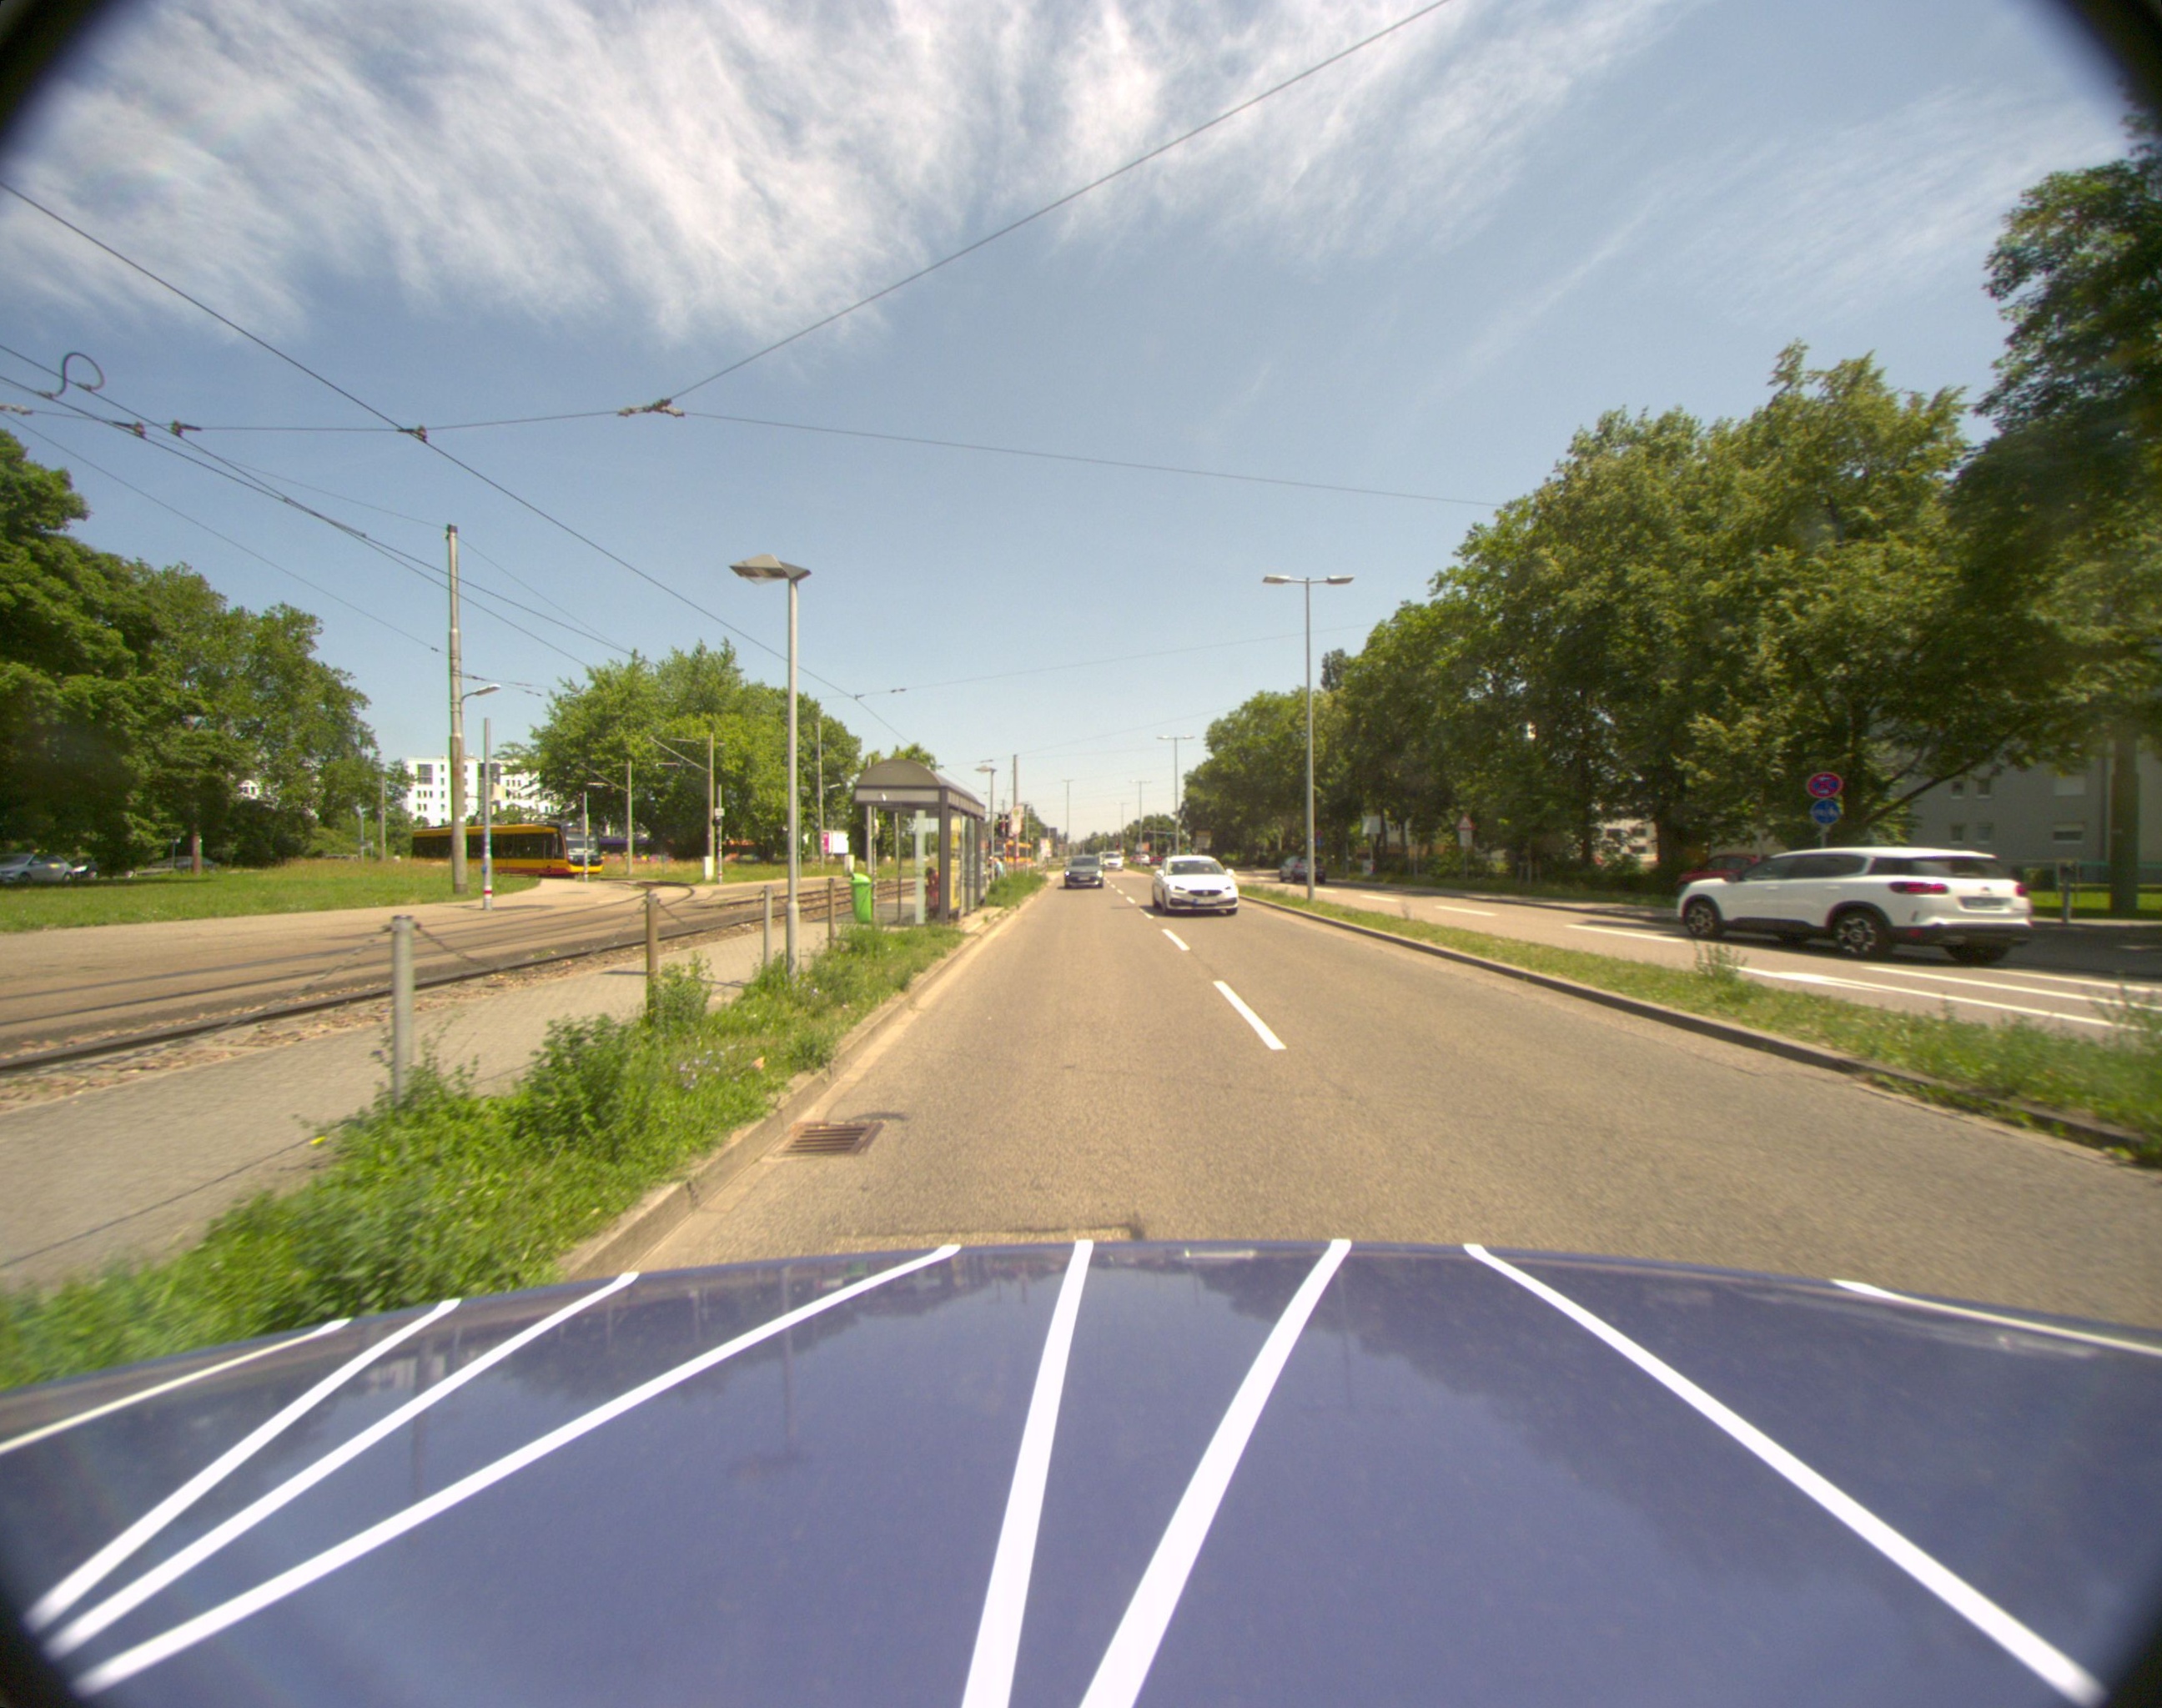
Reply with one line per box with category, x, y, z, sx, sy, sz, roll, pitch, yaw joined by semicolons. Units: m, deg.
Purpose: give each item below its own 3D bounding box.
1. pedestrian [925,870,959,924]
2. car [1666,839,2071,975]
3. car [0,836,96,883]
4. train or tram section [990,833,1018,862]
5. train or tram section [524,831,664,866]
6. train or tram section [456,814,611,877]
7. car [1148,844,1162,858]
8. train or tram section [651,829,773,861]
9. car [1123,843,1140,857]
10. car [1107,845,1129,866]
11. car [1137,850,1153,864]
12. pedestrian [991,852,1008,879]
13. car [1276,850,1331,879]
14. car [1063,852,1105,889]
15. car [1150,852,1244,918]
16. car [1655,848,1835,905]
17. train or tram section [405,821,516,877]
pedestrian;-2.786;0.856;15.242;0.577;1.034;0.579;0;1;1
car;12.141;0.691;12.293;1.864;1.748;4.479;2;0;0
car;-47.400;0.222;34.105;1.961;2.002;4.306;0;1;-22
train or tram section;-9.366;-0.818;93.202;2.524;3.305;7.257;0;2;1
train or tram section;-54.452;-0.738;85.648;2.708;3.629;13.275;0;2;33
train or tram section;-34.999;-0.443;48.262;13.149;3.629;2.720;-1;2;30
car;11.215;-0.440;115.272;1.998;2.002;4.000;0;1;2
train or tram section;-45.821;-1.227;94.880;13.274;3.629;2.708;-3;2;-37
car;7.390;-0.556;111.672;1.999;2.002;3.998;0;1;-3
car;3.552;0.141;73.563;1.998;2.002;4.000;0;0;2
car;8.519;0.397;100.861;1.816;1.631;3.999;-2;1;1
pedestrian;-3.505;0.484;32.642;0.611;1.123;0.621;-2;2;-1
car;12.212;0.543;41.935;1.772;1.545;4.082;0;0;-1
car;0.189;0.736;36.577;1.787;1.554;4.135;-3;0;2
car;2.884;0.710;19.696;1.772;1.460;4.111;-2;1;0
car;19.977;0.611;23.129;1.998;1.576;4.000;0;0;0
train or tram section;-44.868;-0.317;54.716;13.213;3.629;2.720;-1;2;36
